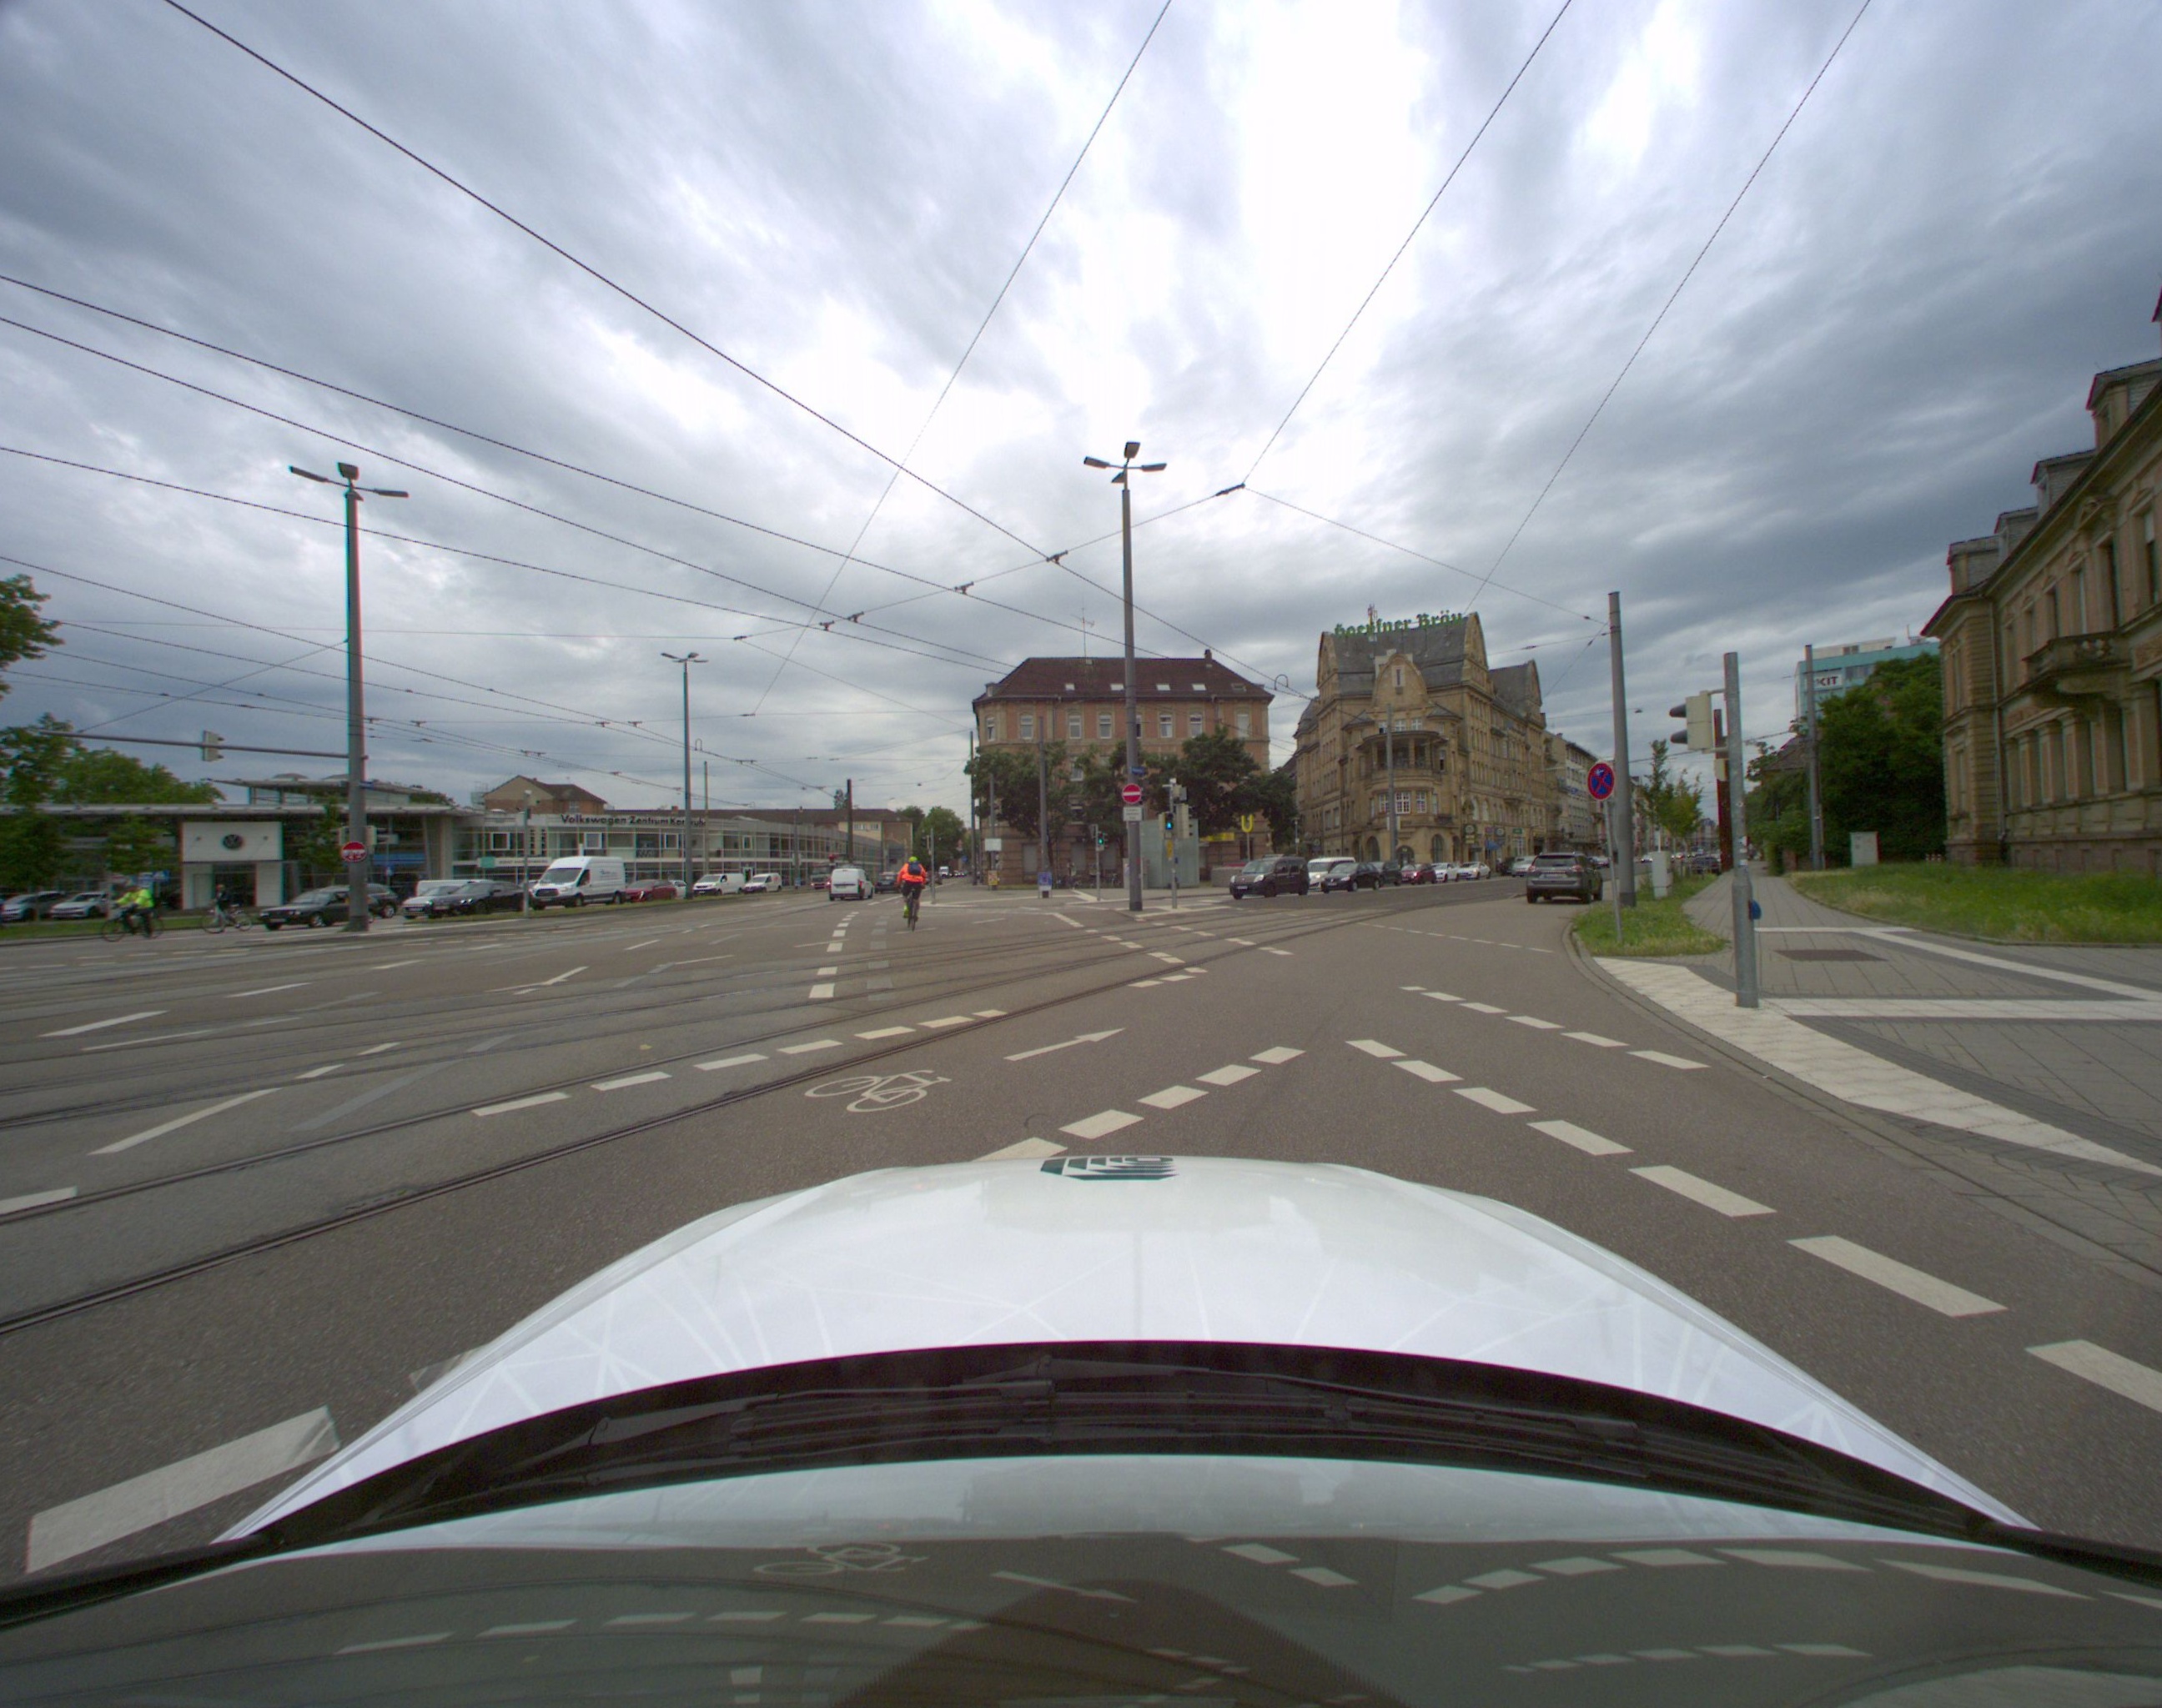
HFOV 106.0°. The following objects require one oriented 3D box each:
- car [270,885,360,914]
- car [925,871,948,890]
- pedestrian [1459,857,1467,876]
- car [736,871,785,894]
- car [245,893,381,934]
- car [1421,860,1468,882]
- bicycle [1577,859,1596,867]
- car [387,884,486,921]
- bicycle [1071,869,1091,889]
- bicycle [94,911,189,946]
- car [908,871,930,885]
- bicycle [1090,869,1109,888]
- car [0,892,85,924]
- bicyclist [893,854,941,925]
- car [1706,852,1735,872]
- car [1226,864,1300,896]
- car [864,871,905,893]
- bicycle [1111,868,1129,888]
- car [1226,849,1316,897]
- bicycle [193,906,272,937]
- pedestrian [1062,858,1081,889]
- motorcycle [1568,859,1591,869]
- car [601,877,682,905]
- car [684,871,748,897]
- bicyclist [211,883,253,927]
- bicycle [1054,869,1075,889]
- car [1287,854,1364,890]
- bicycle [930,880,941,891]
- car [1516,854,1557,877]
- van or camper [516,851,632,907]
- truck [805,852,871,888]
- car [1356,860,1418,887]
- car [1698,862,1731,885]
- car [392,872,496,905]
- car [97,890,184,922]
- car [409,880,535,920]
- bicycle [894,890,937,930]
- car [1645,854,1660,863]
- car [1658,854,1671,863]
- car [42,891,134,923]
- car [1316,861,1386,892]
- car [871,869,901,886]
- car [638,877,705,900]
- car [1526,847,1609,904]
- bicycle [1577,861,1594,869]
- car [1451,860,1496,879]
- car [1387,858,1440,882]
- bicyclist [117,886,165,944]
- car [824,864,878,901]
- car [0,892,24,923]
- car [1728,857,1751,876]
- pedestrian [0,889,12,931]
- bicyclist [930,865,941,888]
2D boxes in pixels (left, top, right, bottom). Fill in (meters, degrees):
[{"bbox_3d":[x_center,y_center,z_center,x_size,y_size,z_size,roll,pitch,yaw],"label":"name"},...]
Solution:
[{"bbox_3d":[-43.055,2.521,45.909,1.631,1.420,3.734,-1,-1,-2],"label":"car"},{"bbox_3d":[-16.506,3.017,93.166,1.987,2.014,3.999,0,-2,0],"label":"car"},{"bbox_3d":[34.199,1.121,72.913,0.624,1.719,0.536,-2,-2,26],"label":"pedestrian"},{"bbox_3d":[-27.756,2.425,70.756,1.983,1.839,4.531,-1,-1,7],"label":"car"},{"bbox_3d":[-28.247,2.158,30.115,1.684,1.247,3.730,-1,-1,-5],"label":"car"},{"bbox_3d":[25.880,1.208,57.913,1.730,1.380,4.389,-6,-4,41],"label":"car"},{"bbox_3d":[70.055,1.233,112.857,2.209,1.126,0.507,-2,-2,33],"label":"bicycle"},{"bbox_3d":[-28.150,2.082,35.723,1.633,1.420,3.730,-1,-1,-5],"label":"car"},{"bbox_3d":[0.008,1.730,57.372,0.952,1.354,3.127,-1,-2,8],"label":"bicycle"},{"bbox_3d":[-30.317,2.397,26.346,0.517,0.930,2.222,-1,-1,-1],"label":"bicycle"},{"bbox_3d":[-22.766,3.349,114.829,1.986,1.839,4.525,-1,-1,2],"label":"car"},{"bbox_3d":[1.314,1.719,57.356,0.952,1.354,3.127,-1,-2,8],"label":"bicycle"},{"bbox_3d":[-69.442,3.564,54.227,1.998,2.014,3.977,0,-2,-17],"label":"car"},{"bbox_3d":[-3.943,0.825,19.541,0.831,1.621,1.311,-1,-1,-24],"label":"bicyclist"},{"bbox_3d":[55.276,0.671,70.387,1.738,1.574,3.955,-5,-3,39],"label":"car"},{"bbox_3d":[8.991,1.260,40.035,1.673,1.442,4.024,-3,-2,44],"label":"car"},{"bbox_3d":[-13.941,1.970,57.974,1.989,1.420,3.996,-1,-1,-2],"label":"car"},{"bbox_3d":[2.749,1.717,57.699,0.952,1.354,3.127,-1,-2,8],"label":"bicycle"},{"bbox_3d":[8.172,0.787,34.734,1.673,1.900,4.412,-3,-2,44],"label":"car"},{"bbox_3d":[-30.329,2.410,29.160,0.517,0.926,2.222,-1,-1,-1],"label":"bicycle"},{"bbox_3d":[-0.547,1.125,47.108,0.914,1.728,0.597,-1,-1,-25],"label":"pedestrian"},{"bbox_3d":[65.216,1.278,106.525,2.326,1.303,0.884,-1,-1,4],"label":"motorcycle"},{"bbox_3d":[-25.745,2.139,47.941,1.986,1.420,4.803,-1,-1,2],"label":"car"},{"bbox_3d":[-28.356,2.307,63.482,2.147,1.856,5.453,-1,-1,4],"label":"car"},{"bbox_3d":[-30.353,1.819,29.139,0.564,1.508,0.856,-1,0,-1],"label":"bicyclist"},{"bbox_3d":[-1.149,1.741,57.403,0.952,1.354,3.127,-1,-2,8],"label":"bicycle"},{"bbox_3d":[13.630,0.975,45.207,1.846,1.916,5.130,-2,-2,45],"label":"car"},{"bbox_3d":[-10.869,2.359,60.637,0.620,0.793,1.582,-1,-1,-17],"label":"bicycle"},{"bbox_3d":[37.470,0.942,66.953,1.845,1.706,4.939,-4,-2,41],"label":"car"},{"bbox_3d":[-25.403,1.254,41.155,2.411,2.611,6.040,0,-2,-5],"label":"van or camper"},{"bbox_3d":[-25.500,1.704,86.070,2.776,3.550,9.248,-1,-2,10],"label":"truck"},{"bbox_3d":[18.720,1.176,49.763,1.845,1.535,4.327,-5,-3,44],"label":"car"},{"bbox_3d":[44.795,1.352,57.548,1.621,1.434,3.955,-5,-3,39],"label":"car"},{"bbox_3d":[-40.411,2.150,51.802,4.758,2.014,2.117,0,-2,-6],"label":"car"},{"bbox_3d":[-64.285,3.534,55.756,1.998,2.014,3.977,0,-2,-17],"label":"car"},{"bbox_3d":[-24.970,1.823,33.614,1.991,1.420,4.653,-1,-1,-5],"label":"car"},{"bbox_3d":[-3.975,1.312,19.491,0.559,0.848,2.057,-1,-1,-24],"label":"bicycle"},{"bbox_3d":[102.603,0.837,146.158,1.742,1.449,4.643,-2,-1,40],"label":"car"},{"bbox_3d":[116.290,0.825,162.328,1.742,1.672,4.643,-2,-1,40],"label":"car"},{"bbox_3d":[-67.065,3.539,55.096,1.998,2.014,3.977,0,-2,-17],"label":"car"},{"bbox_3d":[13.281,1.077,39.913,1.673,1.442,4.024,-3,-2,44],"label":"car"},{"bbox_3d":[-23.591,2.825,98.758,1.983,1.839,4.531,-1,-1,7],"label":"car"},{"bbox_3d":[-28.708,2.384,57.257,1.984,1.420,4.756,-1,-1,4],"label":"car"},{"bbox_3d":[16.389,0.672,27.370,1.733,1.756,3.948,-1,0,41],"label":"car"},{"bbox_3d":[66.857,1.510,107.885,1.903,1.001,0.466,-2,-2,33],"label":"bicycle"},{"bbox_3d":[30.264,1.156,62.742,1.908,1.380,4.283,-2,-1,43],"label":"car"},{"bbox_3d":[21.896,1.062,53.539,1.845,1.399,3.918,-5,-3,43],"label":"car"},{"bbox_3d":[-30.330,1.961,26.281,0.626,1.803,0.797,-1,-1,-1],"label":"bicyclist"},{"bbox_3d":[-12.890,1.580,45.802,1.907,1.940,4.128,-1,-1,-1],"label":"car"},{"bbox_3d":[-72.056,3.547,52.992,1.998,2.014,3.977,0,-2,-17],"label":"car"},{"bbox_3d":[76.481,1.420,94.541,1.833,2.115,5.015,-6,-4,40],"label":"car"},{"bbox_3d":[-49.569,2.575,37.050,0.703,1.900,0.864,-1,-2,8],"label":"pedestrian"},{"bbox_3d":[-10.868,1.655,60.683,0.689,1.708,0.794,-1,-1,-17],"label":"bicyclist"}]
